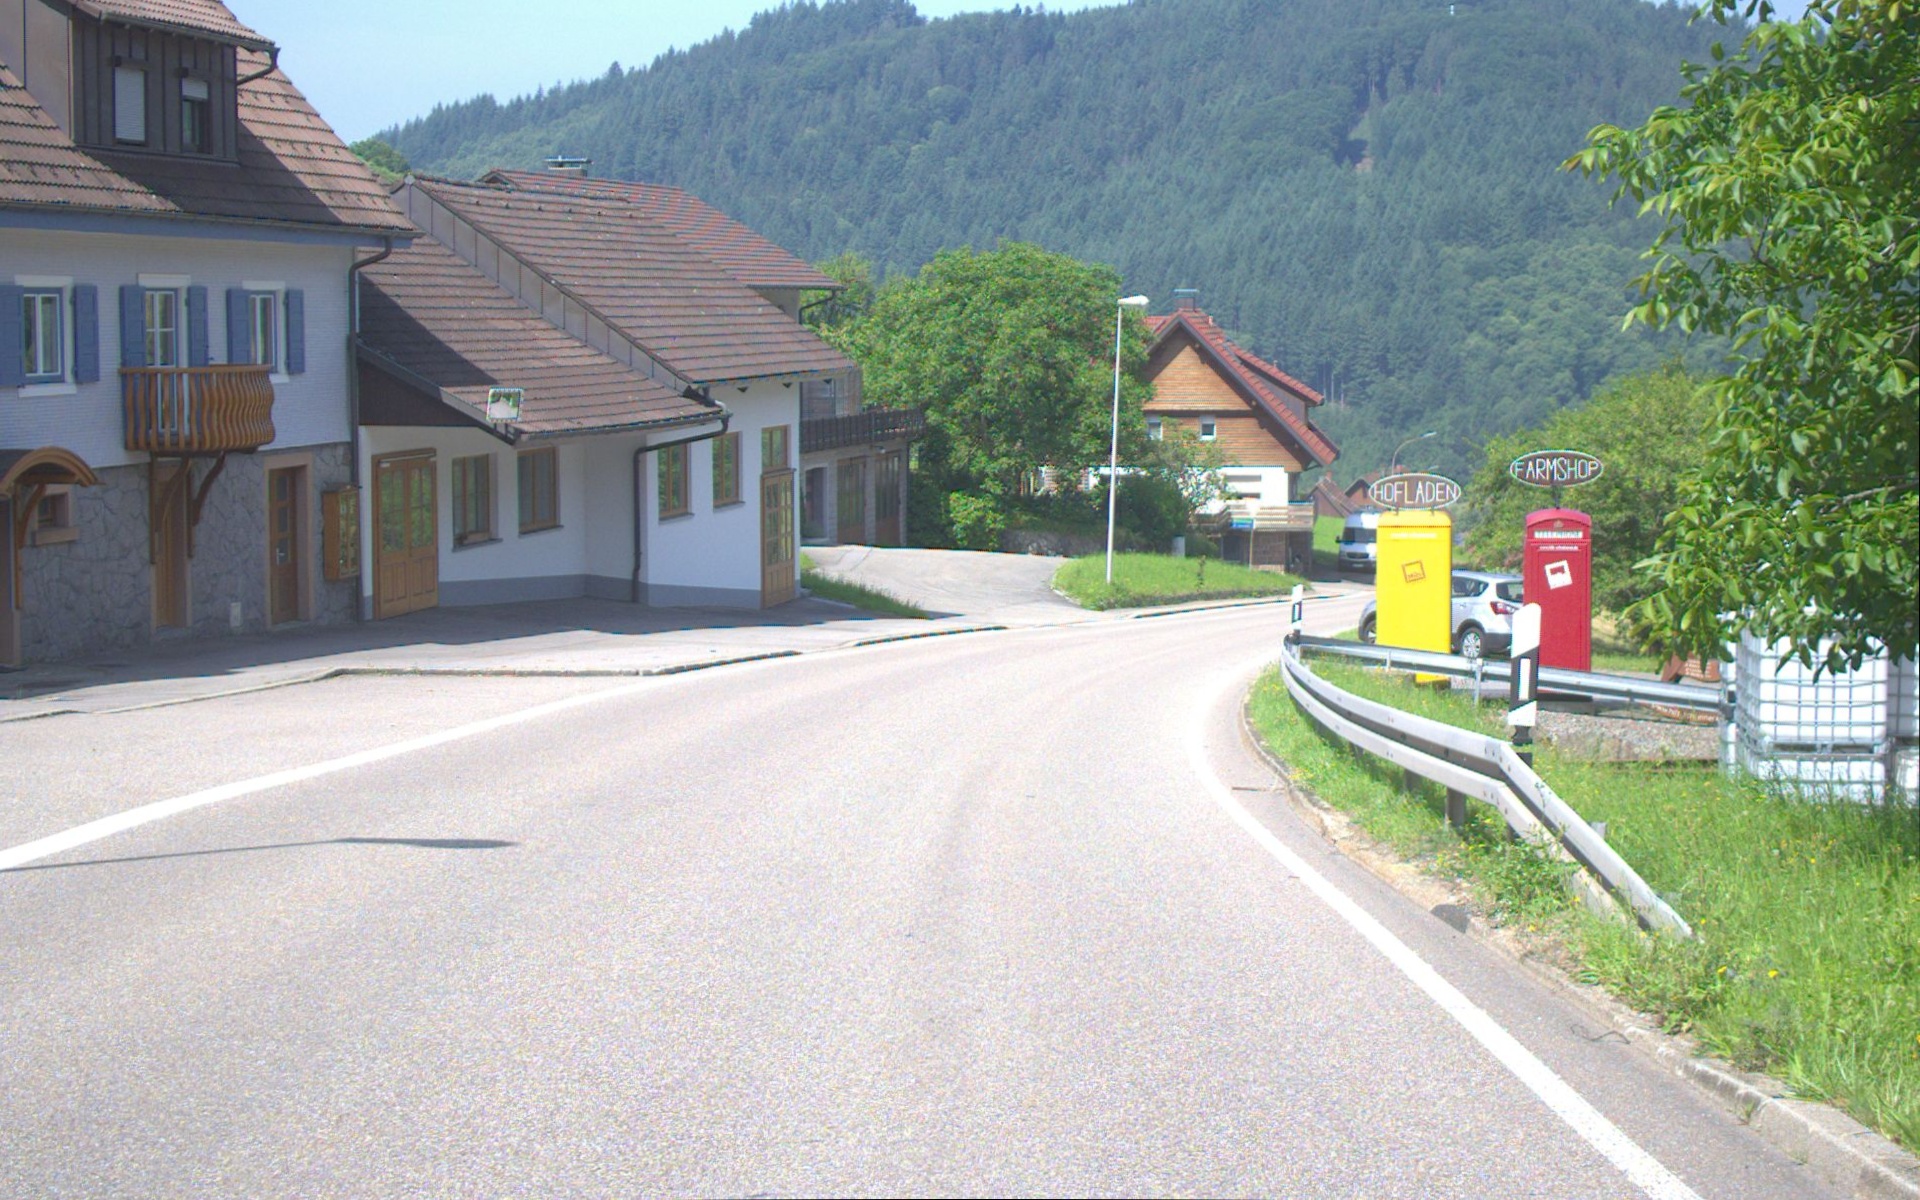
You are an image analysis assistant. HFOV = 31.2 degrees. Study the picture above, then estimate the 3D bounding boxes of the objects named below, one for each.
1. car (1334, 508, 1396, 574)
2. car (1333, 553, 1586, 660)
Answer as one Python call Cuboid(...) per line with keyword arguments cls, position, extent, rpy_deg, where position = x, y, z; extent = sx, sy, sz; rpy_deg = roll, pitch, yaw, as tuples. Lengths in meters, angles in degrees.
Cuboid(cls="car", position=(19.054, -2.812, 161.413), extent=(2.068, 2.679, 7.171), rpy_deg=(1, 4, 13))
Cuboid(cls="car", position=(8.718, 0.089, 60.319), extent=(1.899, 1.565, 4.463), rpy_deg=(3, 2, -31))
